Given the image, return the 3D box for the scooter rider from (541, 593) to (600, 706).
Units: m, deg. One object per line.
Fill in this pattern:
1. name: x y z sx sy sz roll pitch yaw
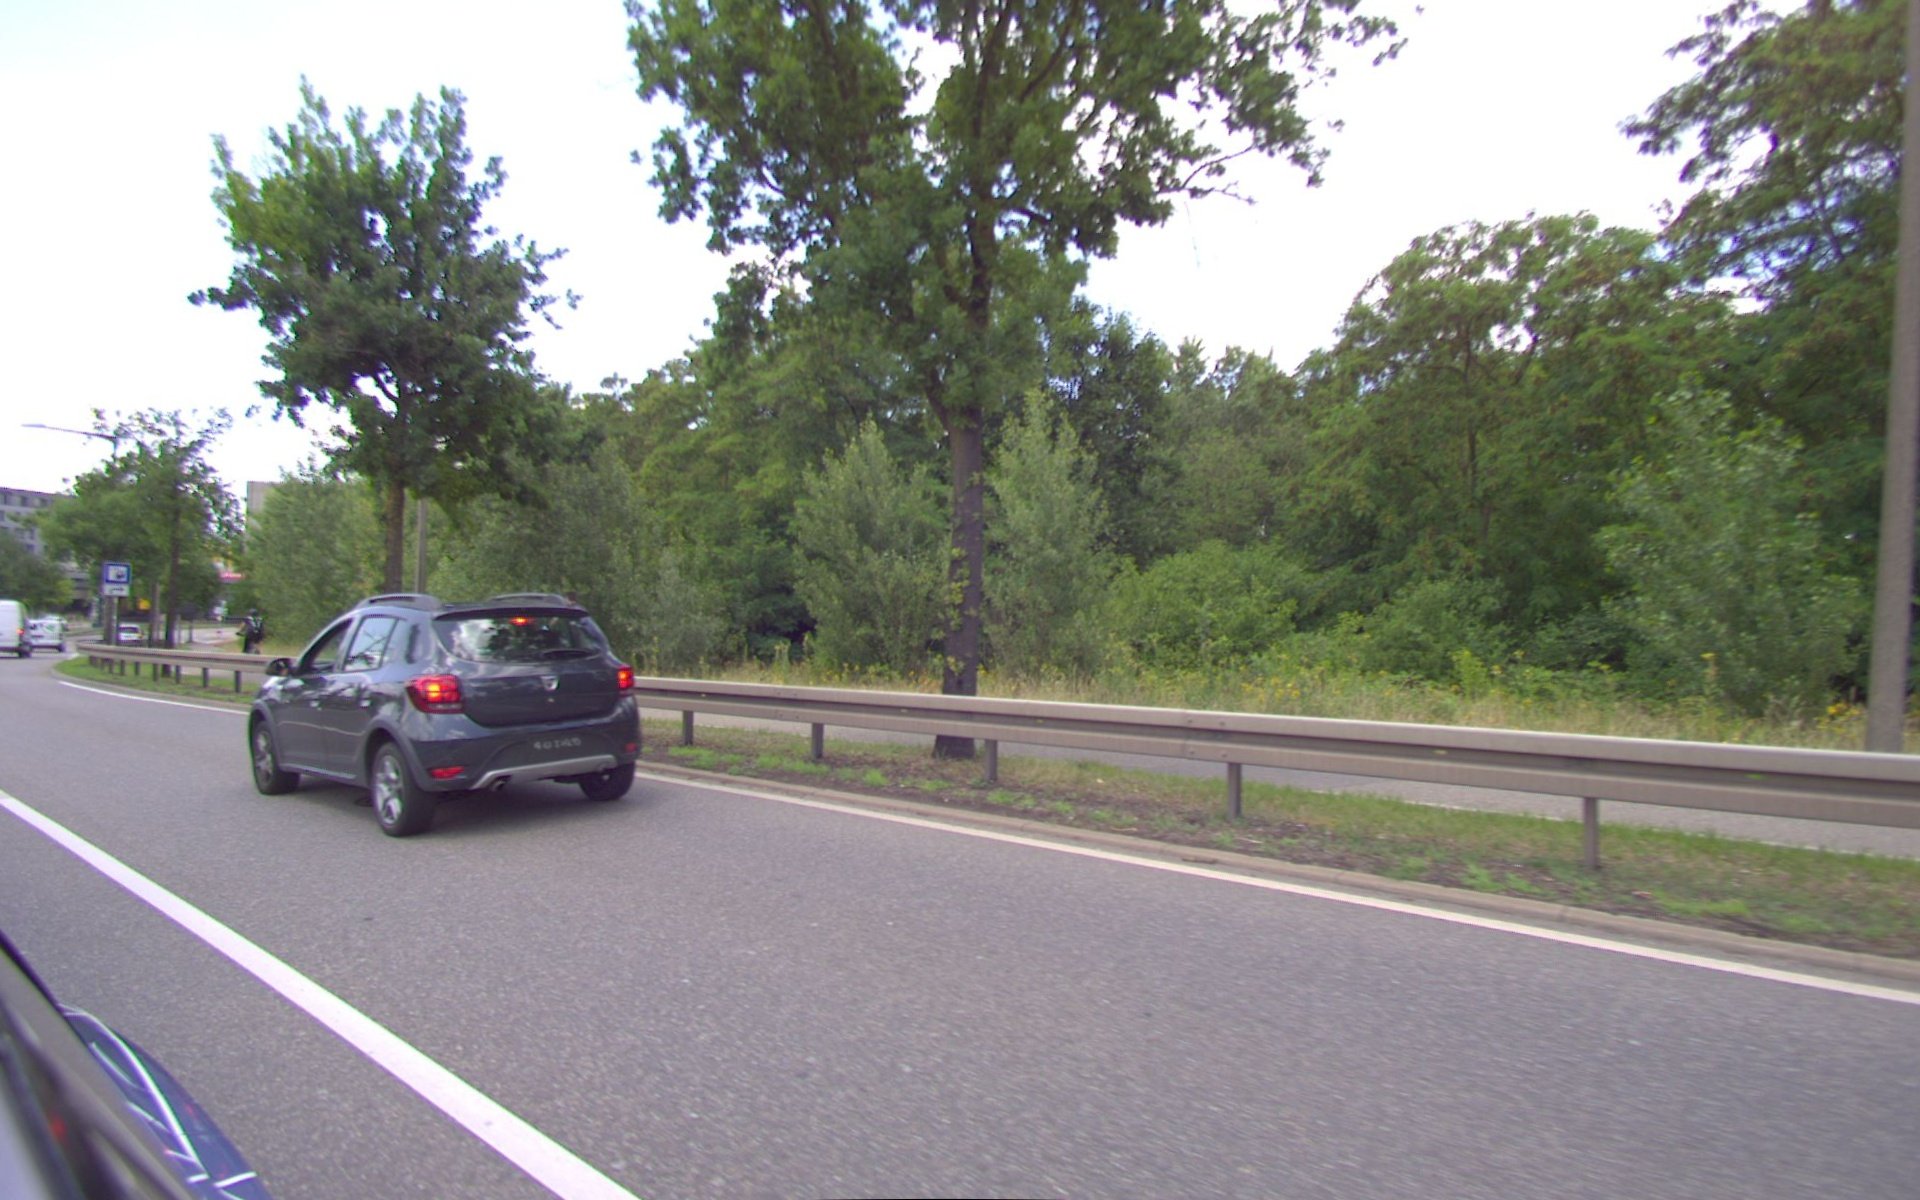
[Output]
1. scooter rider: -6.590 0.835 17.133 0.618 1.870 0.655 -1 -3 39

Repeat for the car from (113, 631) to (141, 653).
1. car: -72.288 3.645 87.859 1.752 1.877 4.132 4 -4 -39

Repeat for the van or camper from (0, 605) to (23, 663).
1. van or camper: -45.131 1.598 47.192 1.969 2.602 5.988 1 -2 -42

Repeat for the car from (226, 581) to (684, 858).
1. car: -4.129 0.736 7.959 4.155 1.619 1.762 -2 -1 41

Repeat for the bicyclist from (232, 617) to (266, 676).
1. bicyclist: -19.137 1.238 27.223 0.880 1.565 0.480 -1 -3 40

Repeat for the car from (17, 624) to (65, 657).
1. car: -55.772 2.469 61.468 1.753 1.881 5.276 3 -3 -39

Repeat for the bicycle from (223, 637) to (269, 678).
1. bicycle: -19.334 1.534 27.396 1.752 1.071 0.551 -1 -3 40
